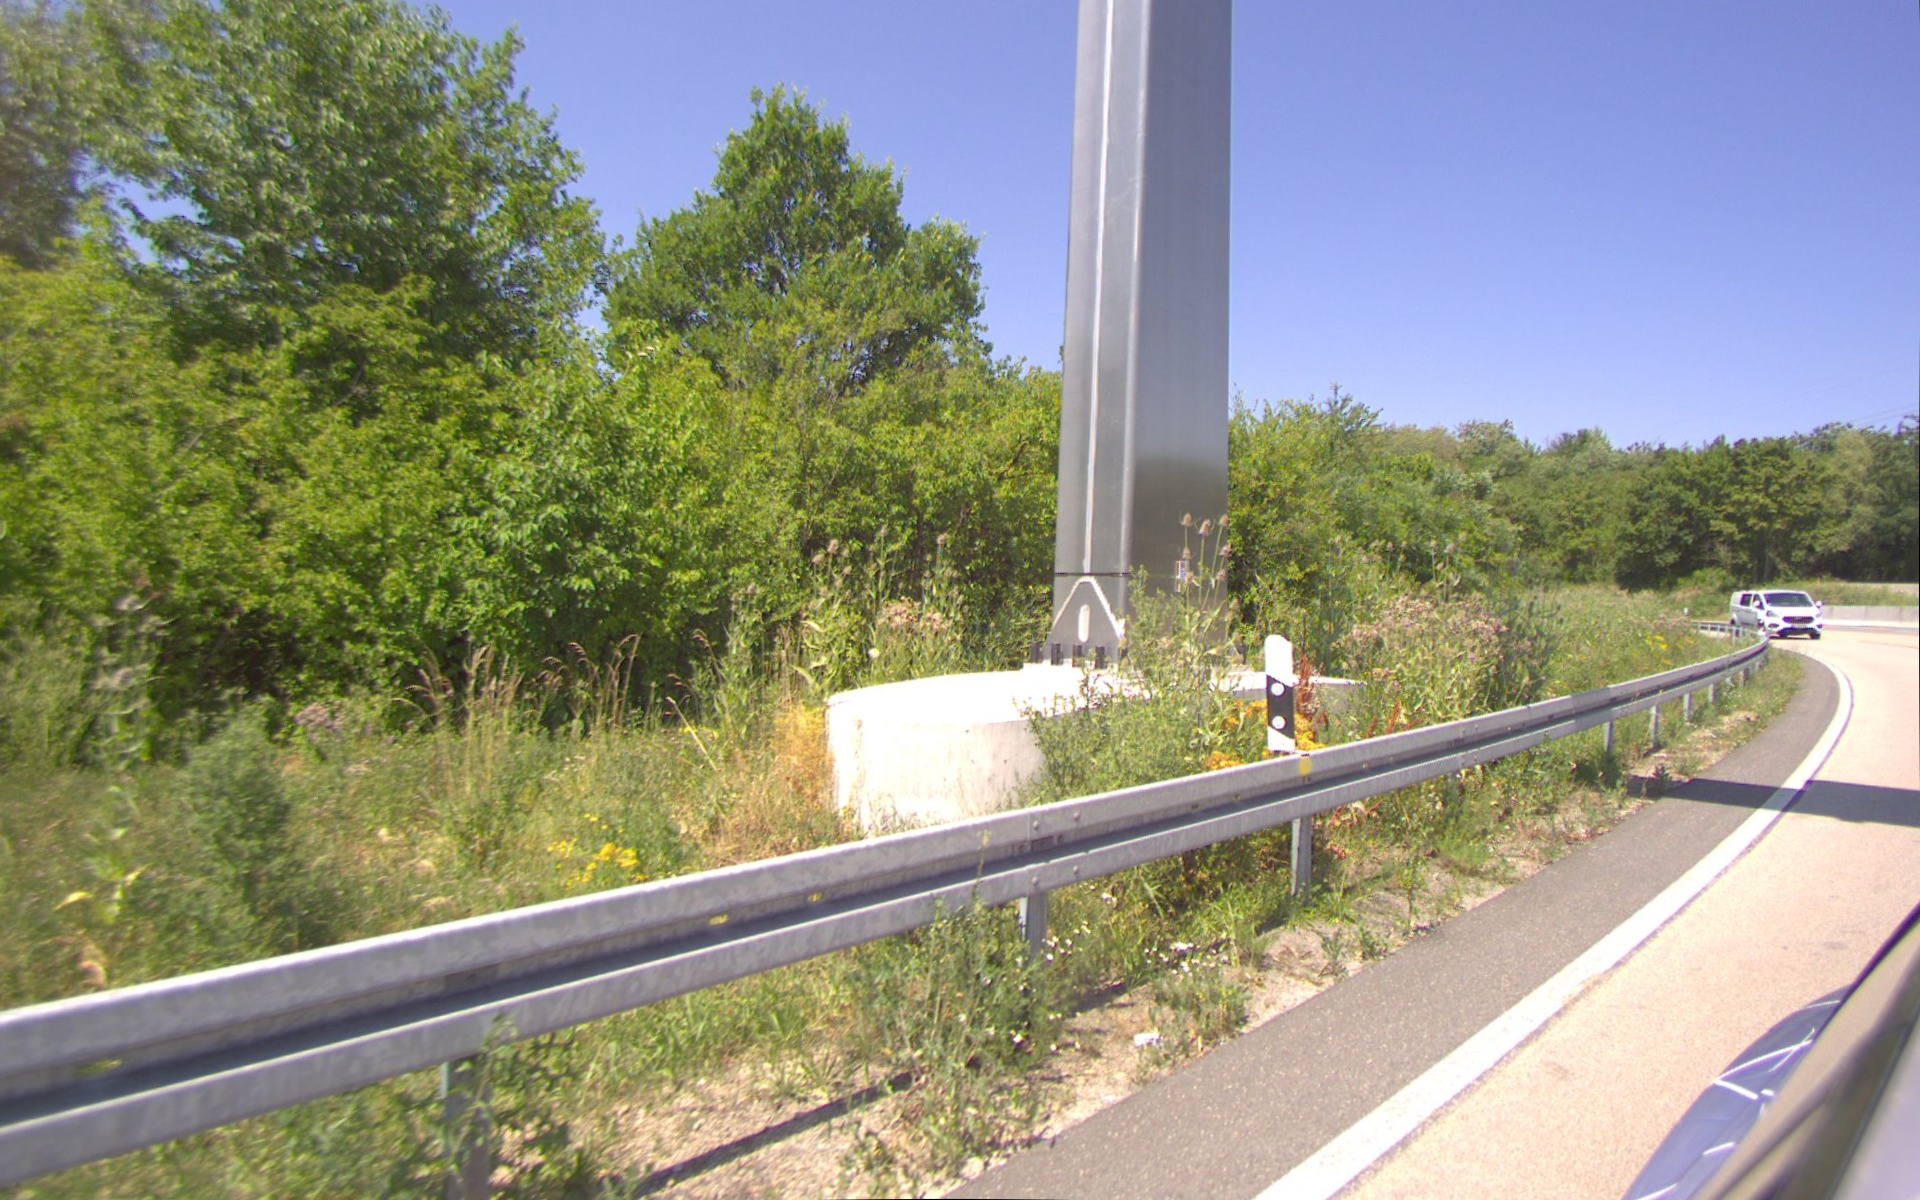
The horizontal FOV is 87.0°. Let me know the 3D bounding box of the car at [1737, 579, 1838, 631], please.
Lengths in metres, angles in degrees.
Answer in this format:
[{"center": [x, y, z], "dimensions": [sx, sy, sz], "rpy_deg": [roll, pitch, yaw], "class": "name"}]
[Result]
[{"center": [34.523, 0.236, 42.404], "dimensions": [2.042, 2.039, 4.997], "rpy_deg": [-1, -1, 25], "class": "car"}]
